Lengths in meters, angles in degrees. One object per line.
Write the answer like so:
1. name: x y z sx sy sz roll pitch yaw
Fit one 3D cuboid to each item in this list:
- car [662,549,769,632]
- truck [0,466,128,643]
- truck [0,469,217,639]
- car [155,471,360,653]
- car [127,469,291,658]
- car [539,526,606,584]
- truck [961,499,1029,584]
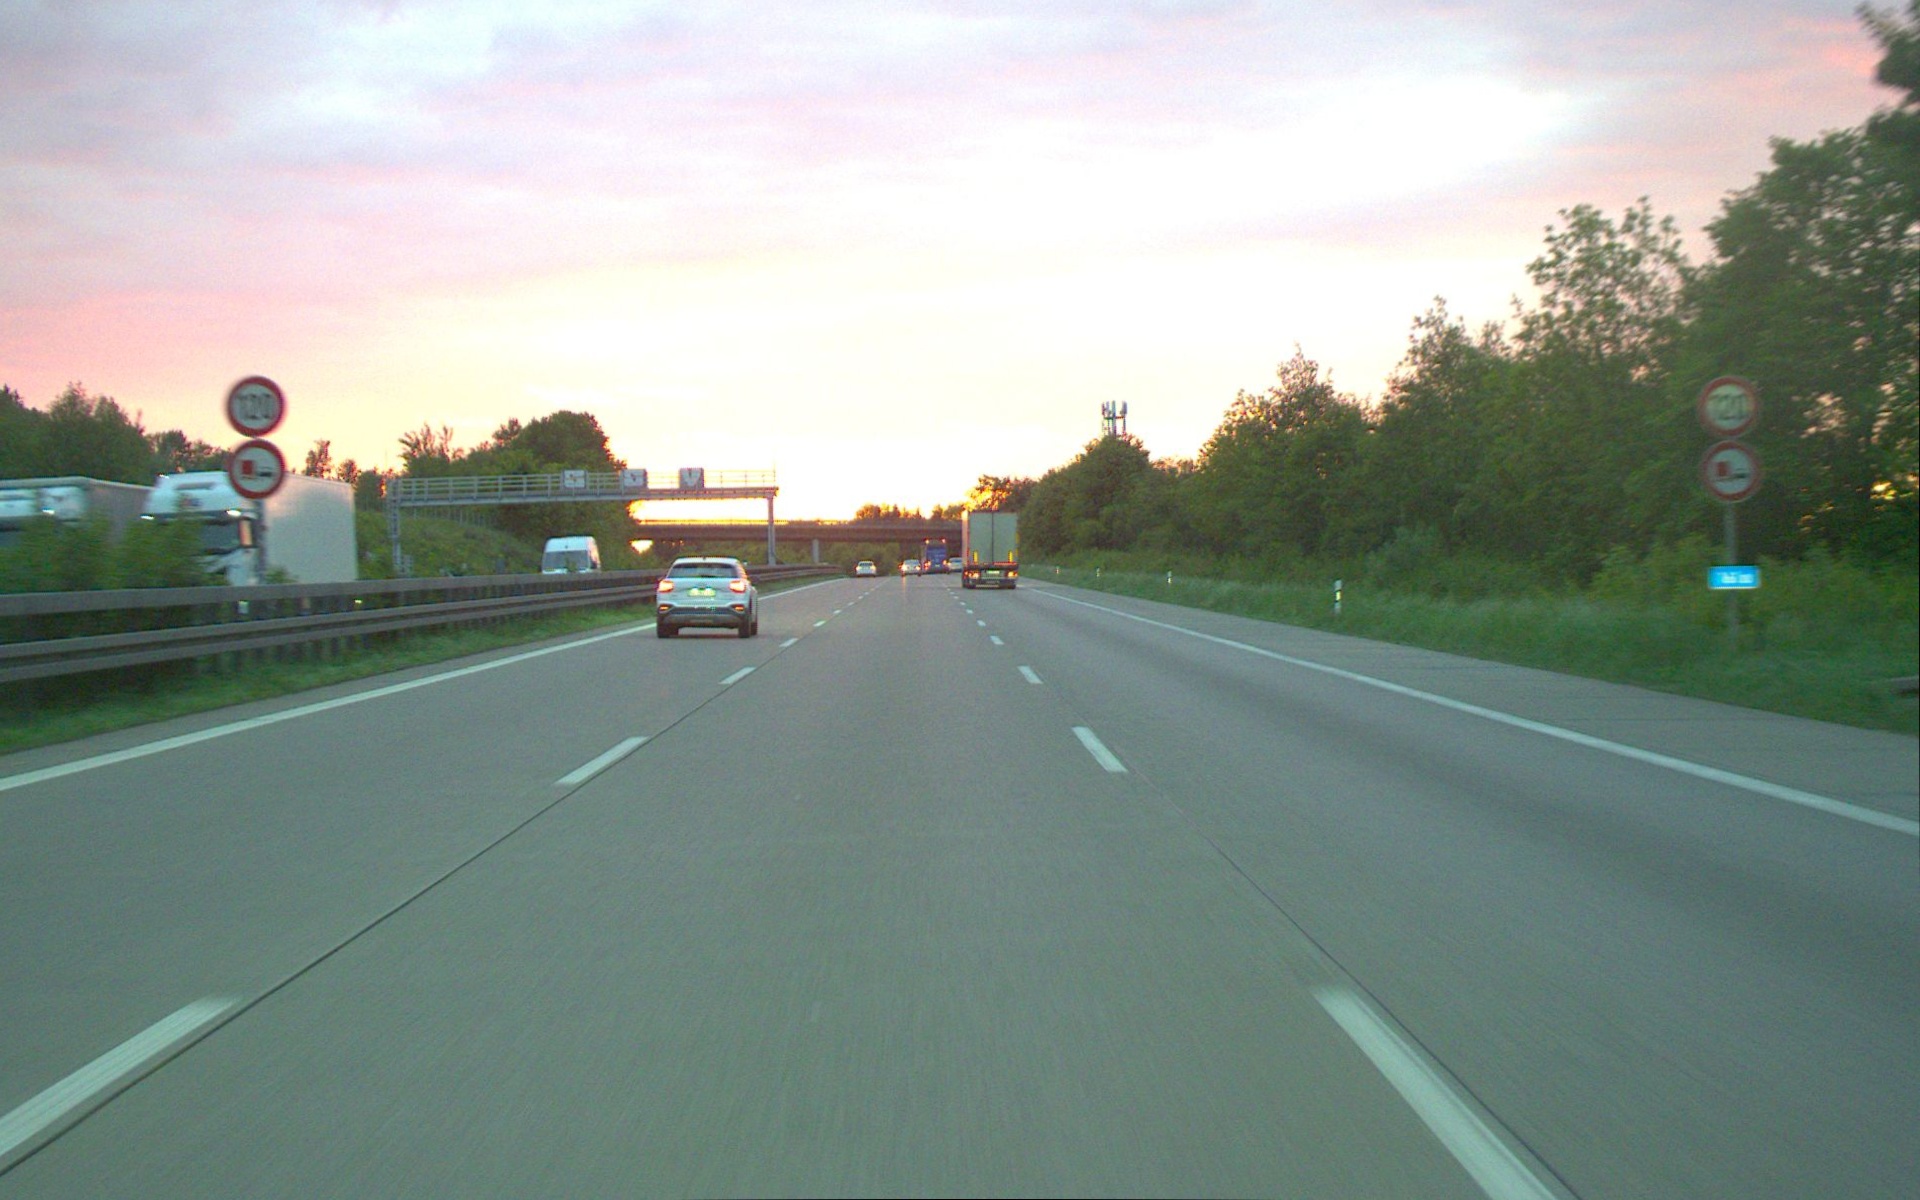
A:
1. car: -4.680 -0.213 66.418 1.789 1.495 5.038 1 1 -1
2. truck: -22.740 -1.114 85.091 2.856 4.196 5.864 0 1 0
3. truck: -22.759 -1.215 91.802 2.895 4.196 13.601 0 1 0
4. car: -18.444 -1.006 91.293 2.798 4.472 13.912 0 1 -1
5. car: -18.359 -0.905 84.402 2.798 4.472 5.930 0 1 -1
6. car: -15.441 -1.792 137.279 1.993 2.279 6.339 0 1 -1
7. truck: 1.793 -2.918 173.727 3.244 4.113 9.786 -1 1 1
